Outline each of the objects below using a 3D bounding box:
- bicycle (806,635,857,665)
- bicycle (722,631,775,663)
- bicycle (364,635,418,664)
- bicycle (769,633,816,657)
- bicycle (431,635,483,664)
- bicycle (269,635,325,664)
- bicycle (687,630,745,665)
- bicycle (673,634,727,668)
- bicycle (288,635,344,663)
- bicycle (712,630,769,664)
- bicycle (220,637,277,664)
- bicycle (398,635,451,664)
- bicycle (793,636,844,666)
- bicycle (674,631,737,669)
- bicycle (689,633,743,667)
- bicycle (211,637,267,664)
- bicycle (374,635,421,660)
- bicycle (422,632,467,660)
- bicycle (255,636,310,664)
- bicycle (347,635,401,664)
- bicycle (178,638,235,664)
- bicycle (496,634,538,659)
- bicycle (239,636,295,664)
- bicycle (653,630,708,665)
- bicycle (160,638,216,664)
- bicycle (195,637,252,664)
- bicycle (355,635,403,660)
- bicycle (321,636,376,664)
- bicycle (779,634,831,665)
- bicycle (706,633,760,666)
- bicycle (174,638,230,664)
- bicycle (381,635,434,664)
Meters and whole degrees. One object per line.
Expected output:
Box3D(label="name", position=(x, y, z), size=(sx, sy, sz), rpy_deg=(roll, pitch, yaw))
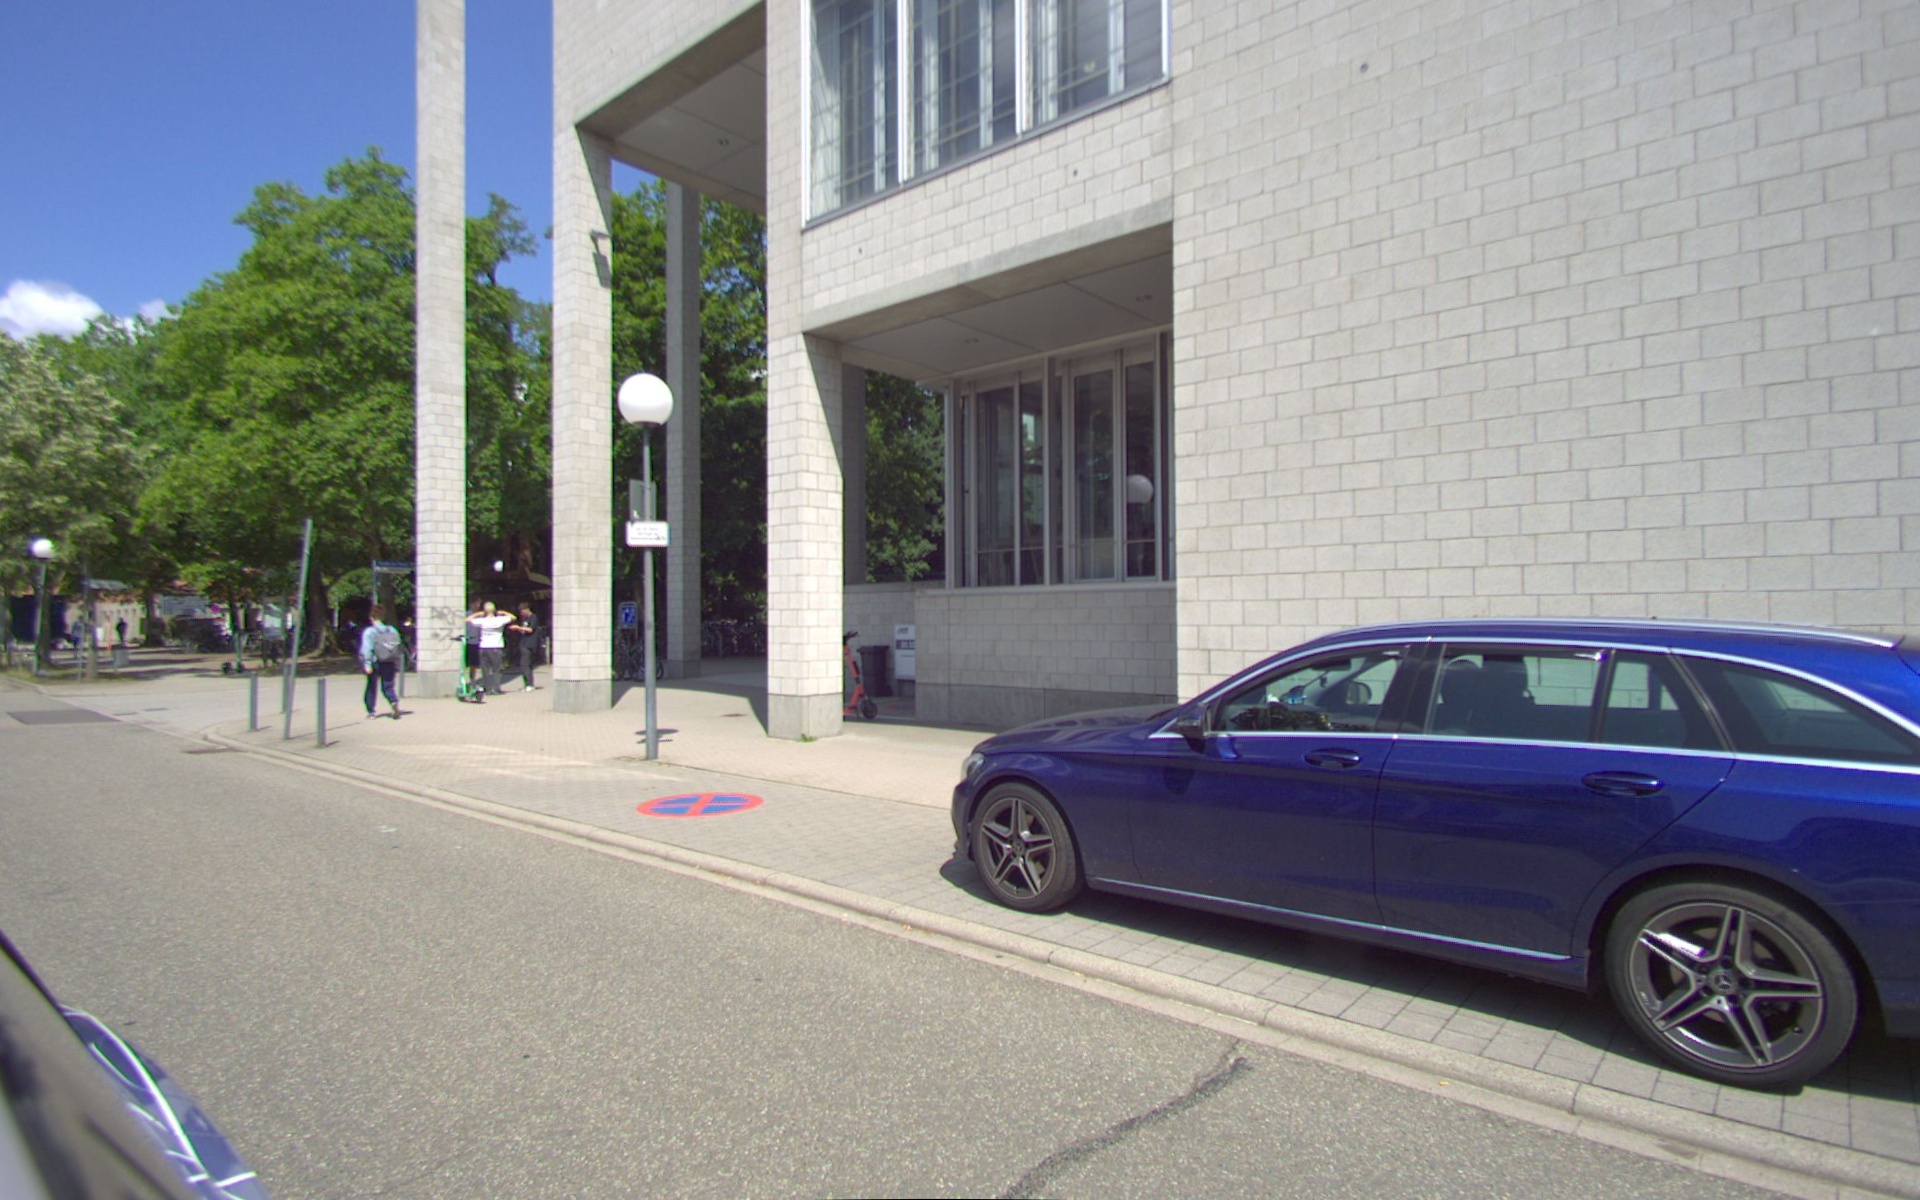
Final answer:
Box3D(label="bicycle", position=(-4.861, 1.882, 38.146), size=(2.173, 1.066, 0.614), rpy_deg=(-1, -1, 41))
Box3D(label="bicycle", position=(-7.340, 1.626, 35.049), size=(2.173, 1.066, 0.614), rpy_deg=(-1, -1, 41))
Box3D(label="bicycle", position=(-23.467, 2.025, 41.775), size=(0.745, 1.115, 2.117), rpy_deg=(-1, -1, 11))
Box3D(label="bicycle", position=(-7.765, 2.066, 46.831), size=(2.160, 1.066, 0.618), rpy_deg=(-1, -1, 23))
Box3D(label="bicycle", position=(-20.405, 1.999, 41.103), size=(0.745, 1.115, 2.117), rpy_deg=(-1, -1, 11))
Box3D(label="bicycle", position=(-28.117, 2.088, 42.970), size=(0.745, 1.166, 2.117), rpy_deg=(-1, -1, 11))
Box3D(label="bicycle", position=(-9.530, 1.863, 39.574), size=(2.148, 1.343, 0.621), rpy_deg=(-1, -1, 7))
Box3D(label="bicycle", position=(-8.627, 1.671, 33.511), size=(2.173, 1.066, 0.614), rpy_deg=(-1, -1, 41))
Box3D(label="bicycle", position=(-27.188, 2.067, 42.749), size=(0.745, 1.115, 2.117), rpy_deg=(-1, -1, 11))
Box3D(label="bicycle", position=(-8.738, 1.868, 40.308), size=(2.148, 1.343, 0.621), rpy_deg=(-1, -1, 7))
Box3D(label="bicycle", position=(-30.552, 2.164, 43.486), size=(0.676, 1.066, 2.117), rpy_deg=(-1, -1, 11))
Box3D(label="bicycle", position=(-21.911, 2.020, 41.473), size=(0.745, 1.115, 2.117), rpy_deg=(-1, -1, 11))
Box3D(label="bicycle", position=(-5.272, 1.865, 37.635), size=(2.173, 1.066, 0.614), rpy_deg=(-1, -1, 41))
Box3D(label="bicycle", position=(-9.239, 1.813, 36.810), size=(2.148, 1.343, 0.621), rpy_deg=(-1, -1, 7))
Box3D(label="bicycle", position=(-8.202, 1.668, 34.025), size=(2.173, 1.066, 0.614), rpy_deg=(-1, -1, 41))
Box3D(label="bicycle", position=(-31.245, 2.178, 43.884), size=(0.676, 1.066, 2.117), rpy_deg=(-1, -1, 11))
Box3D(label="bicycle", position=(-25.711, 2.148, 46.288), size=(0.676, 1.066, 2.117), rpy_deg=(-1, -1, 11))
Box3D(label="bicycle", position=(-23.531, 2.073, 46.195), size=(0.676, 1.201, 2.117), rpy_deg=(-1, -1, 11))
Box3D(label="bicycle", position=(-28.852, 2.117, 43.129), size=(0.676, 1.115, 2.117), rpy_deg=(-1, -1, 11))
Box3D(label="bicycle", position=(-24.288, 2.052, 41.973), size=(0.745, 1.115, 2.117), rpy_deg=(-1, -1, 11))
Box3D(label="bicycle", position=(-32.725, 2.194, 43.993), size=(0.616, 1.066, 2.117), rpy_deg=(-1, -1, 11))
Box3D(label="bicycle", position=(-19.933, 2.095, 45.571), size=(0.676, 1.066, 2.117), rpy_deg=(-1, -1, 11))
Box3D(label="bicycle", position=(-29.583, 2.126, 43.268), size=(0.676, 1.115, 2.117), rpy_deg=(-1, -1, 11))
Box3D(label="bicycle", position=(-9.925, 1.666, 35.896), size=(2.168, 1.201, 0.616), rpy_deg=(-1, -1, 33))
Box3D(label="bicycle", position=(-33.997, 2.217, 44.596), size=(0.616, 1.066, 2.117), rpy_deg=(-1, -1, 11))
Box3D(label="bicycle", position=(-32.015, 2.188, 44.034), size=(0.676, 1.066, 2.117), rpy_deg=(-1, -1, 11))
Box3D(label="bicycle", position=(-26.579, 2.158, 46.356), size=(0.676, 1.066, 2.117), rpy_deg=(-1, -1, 11))
Box3D(label="bicycle", position=(-25.510, 2.069, 42.282), size=(0.745, 1.115, 2.117), rpy_deg=(-1, -1, 11))
Box3D(label="bicycle", position=(-5.704, 1.806, 37.112), size=(2.173, 1.066, 0.614), rpy_deg=(-1, -1, 41))
Box3D(label="bicycle", position=(-7.765, 1.665, 34.539), size=(2.173, 1.066, 0.614), rpy_deg=(-1, -1, 41))
Box3D(label="bicycle", position=(-33.240, 2.206, 44.407), size=(0.616, 1.066, 2.117), rpy_deg=(-1, -1, 11))
Box3D(label="bicycle", position=(-22.705, 2.030, 41.624), size=(0.745, 1.115, 2.117), rpy_deg=(-1, -1, 11))
